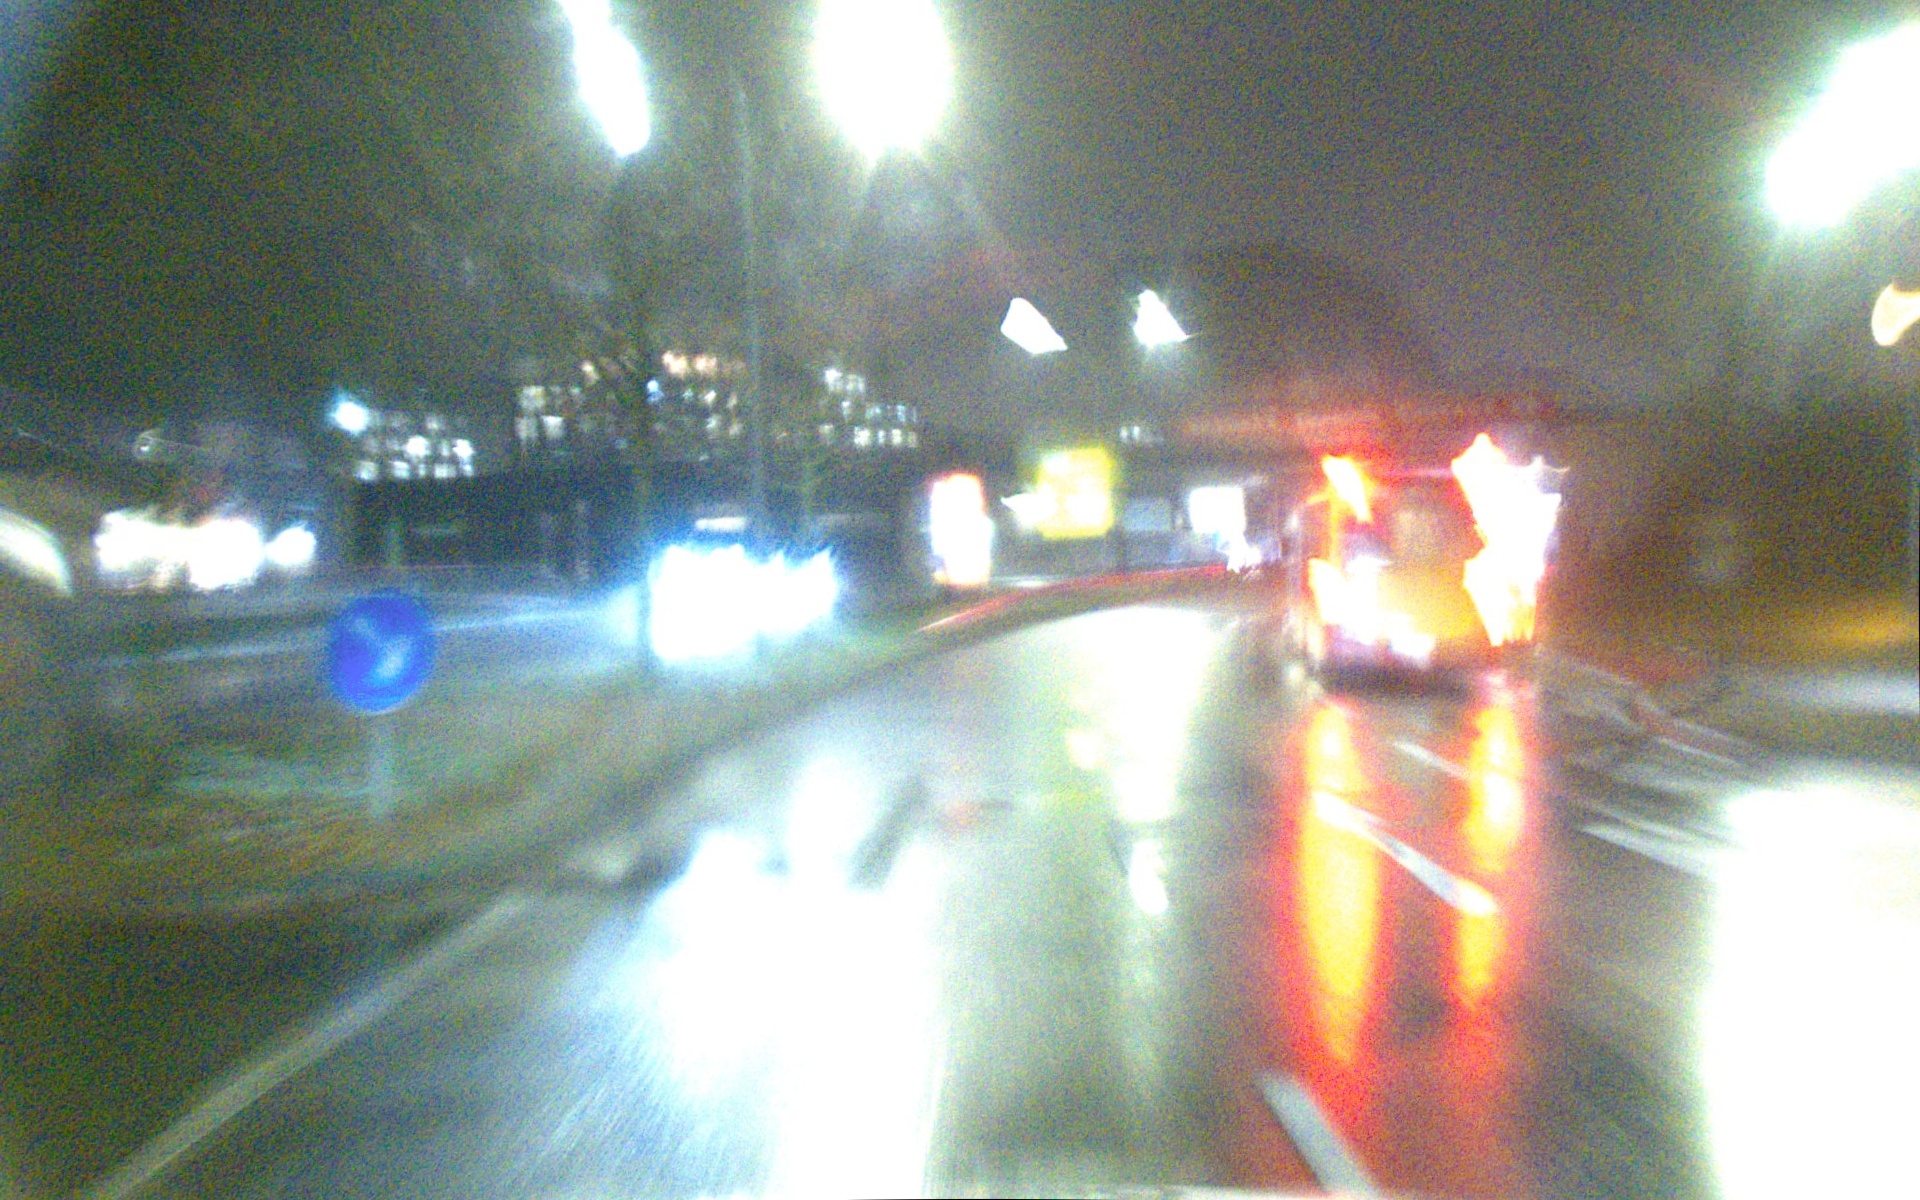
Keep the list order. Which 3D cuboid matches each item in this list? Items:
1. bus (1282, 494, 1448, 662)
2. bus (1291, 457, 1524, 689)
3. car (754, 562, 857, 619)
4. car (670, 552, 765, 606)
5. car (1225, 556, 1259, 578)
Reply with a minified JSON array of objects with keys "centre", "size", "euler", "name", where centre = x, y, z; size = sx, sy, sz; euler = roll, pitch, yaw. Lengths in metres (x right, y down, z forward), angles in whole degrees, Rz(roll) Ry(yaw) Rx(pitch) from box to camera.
[{"centre":[8.816,-0.443,36.988],"size":[2.978,3.268,9.058],"euler":[0,0,10],"name":"bus"},{"centre":[7.259,-0.396,28.059],"size":[2.978,3.268,9.058],"euler":[0,0,10],"name":"bus"},{"centre":[-4.364,-0.294,47.389],"size":[1.826,1.489,4.644],"euler":[-2,1,9],"name":"car"},{"centre":[-7.584,-0.688,52.157],"size":[1.951,1.621,4.004],"euler":[-1,1,7],"name":"car"},{"centre":[19.206,-2.271,112.540],"size":[1.534,1.451,3.953],"euler":[1,2,21],"name":"car"}]
